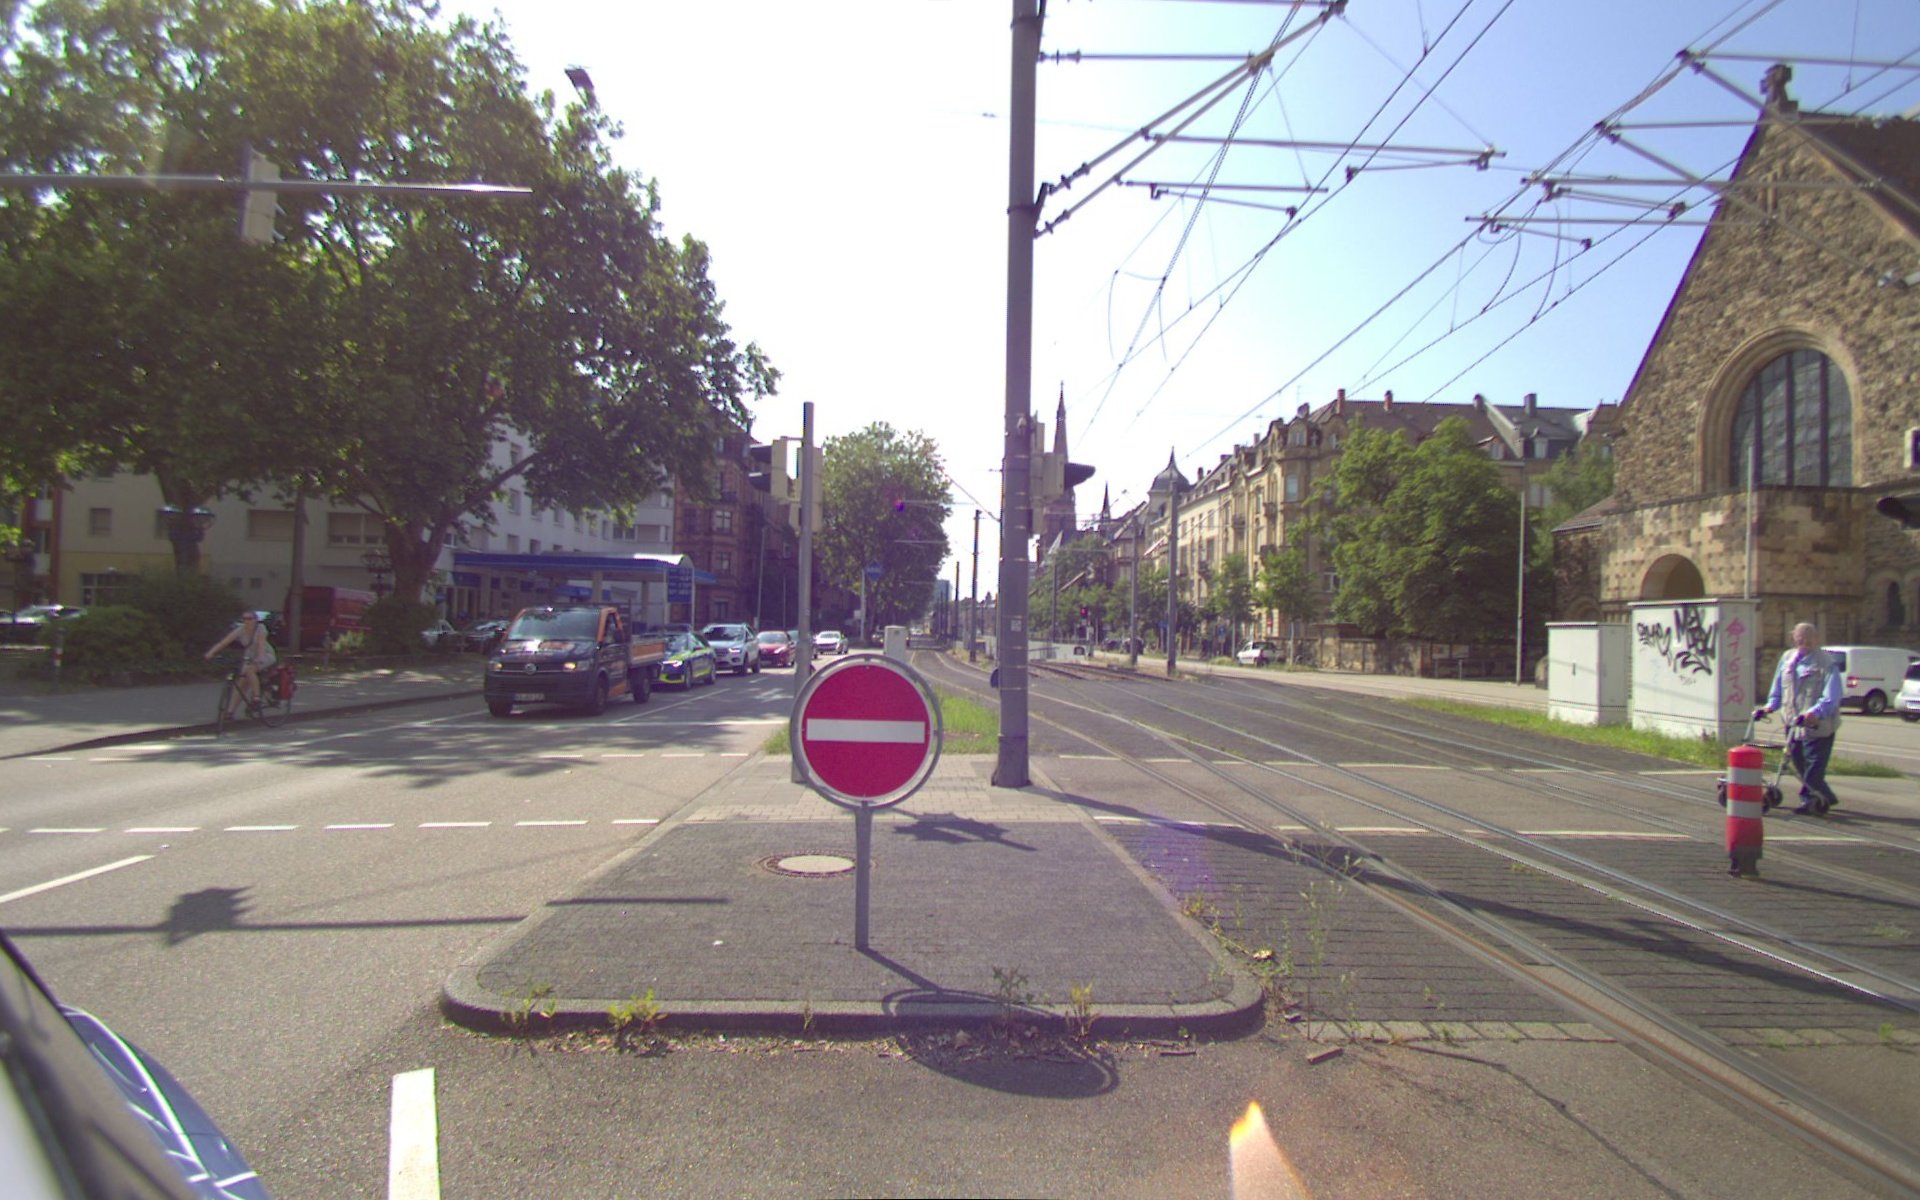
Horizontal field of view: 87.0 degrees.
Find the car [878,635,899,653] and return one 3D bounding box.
[{"bbox_3d":[-6.355,3.920,90.699,1.740,1.510,4.189,2,-2,-2],"label":"car"}]

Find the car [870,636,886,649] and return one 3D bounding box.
[{"bbox_3d":[-8.764,4.531,108.372,1.481,1.313,3.490,-1,-2,0],"label":"car"}]

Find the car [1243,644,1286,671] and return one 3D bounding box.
[{"bbox_3d":[17.767,3.332,59.133,1.654,1.427,3.836,3,-2,6],"label":"car"}]

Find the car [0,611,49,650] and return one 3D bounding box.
[{"bbox_3d":[-38.509,1.202,39.944,1.639,1.531,4.002,-1,-2,-3],"label":"car"}]

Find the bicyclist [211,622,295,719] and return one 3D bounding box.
[{"bbox_3d":[-10.264,1.004,14.716,0.465,1.353,0.907,1,-2,6],"label":"bicyclist"}]

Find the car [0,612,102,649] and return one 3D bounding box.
[{"bbox_3d":[-35.861,1.196,39.369,1.741,1.374,4.002,-1,-2,-3],"label":"car"}]

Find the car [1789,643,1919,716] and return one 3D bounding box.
[{"bbox_3d":[25.410,2.178,27.721,3.955,1.838,1.865,2,-2,-4],"label":"car"}]

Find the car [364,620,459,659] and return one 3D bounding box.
[{"bbox_3d":[-21.611,1.554,40.033,1.732,1.421,4.002,1,-2,-3],"label":"car"}]

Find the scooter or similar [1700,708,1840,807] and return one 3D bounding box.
[{"bbox_3d":[7.278,1.408,9.115,0.828,0.810,0.554,2,-2,-6],"label":"scooter or similar"}]

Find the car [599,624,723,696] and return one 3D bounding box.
[{"bbox_3d":[-7.559,1.468,26.120,1.845,1.665,5.155,0,-2,-2],"label":"car"}]

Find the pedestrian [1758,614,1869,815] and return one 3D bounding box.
[{"bbox_3d":[7.719,1.014,9.173,0.520,1.746,0.558,2,-2,-7],"label":"pedestrian"}]

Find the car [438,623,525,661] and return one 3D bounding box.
[{"bbox_3d":[-18.927,1.659,40.238,1.732,1.421,4.002,1,-2,-3],"label":"car"}]

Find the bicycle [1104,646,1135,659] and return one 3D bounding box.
[{"bbox_3d":[16.036,5.266,101.819,2.906,1.256,0.795,2,-2,-14],"label":"bicycle"}]

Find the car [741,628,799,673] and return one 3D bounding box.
[{"bbox_3d":[-7.551,1.978,40.574,1.693,1.619,4.146,1,-1,-2],"label":"car"}]

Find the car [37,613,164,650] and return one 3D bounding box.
[{"bbox_3d":[-33.405,1.231,39.488,1.741,1.374,4.002,-1,-2,-3],"label":"car"}]

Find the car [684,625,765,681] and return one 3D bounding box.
[{"bbox_3d":[-7.680,1.681,33.394,1.740,1.619,4.681,1,0,-2],"label":"car"}]

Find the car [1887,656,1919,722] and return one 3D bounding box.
[{"bbox_3d":[24.980,2.217,24.373,3.723,1.559,1.799,2,-2,-3],"label":"car"}]

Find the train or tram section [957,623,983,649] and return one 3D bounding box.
[{"bbox_3d":[1.420,5.399,150.648,2.820,3.607,12.843,2,-2,-3],"label":"train or tram section"}]

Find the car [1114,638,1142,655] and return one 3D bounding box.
[{"bbox_3d":[15.774,4.369,95.340,1.667,1.514,4.709,1,-2,-2],"label":"car"}]

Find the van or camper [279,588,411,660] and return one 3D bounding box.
[{"bbox_3d":[-24.432,0.989,40.491,2.079,2.661,5.349,-1,-2,-1],"label":"van or camper"}]

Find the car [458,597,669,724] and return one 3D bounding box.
[{"bbox_3d":[-7.181,0.997,19.047,2.051,2.002,5.338,1,-1,-2],"label":"car"}]

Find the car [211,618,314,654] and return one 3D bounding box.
[{"bbox_3d":[-27.207,1.389,39.635,1.456,1.304,4.002,-1,-2,-3],"label":"car"}]

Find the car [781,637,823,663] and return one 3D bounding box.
[{"bbox_3d":[-7.933,2.509,51.023,1.598,1.198,3.633,2,-2,-1],"label":"car"}]

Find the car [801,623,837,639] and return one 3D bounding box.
[{"bbox_3d":[-18.163,4.065,130.743,4.351,1.933,2.001,2,-2,-3],"label":"car"}]

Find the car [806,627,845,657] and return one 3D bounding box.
[{"bbox_3d":[-8.298,2.553,62.798,1.925,1.619,5.079,1,0,-2],"label":"car"}]

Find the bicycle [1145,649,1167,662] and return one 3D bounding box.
[{"bbox_3d":[16.699,4.722,86.250,1.684,1.077,0.472,2,-2,-7],"label":"bicycle"}]

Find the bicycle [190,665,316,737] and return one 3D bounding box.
[{"bbox_3d":[-10.267,1.441,14.763,0.465,0.928,1.713,1,-2,6],"label":"bicycle"}]
